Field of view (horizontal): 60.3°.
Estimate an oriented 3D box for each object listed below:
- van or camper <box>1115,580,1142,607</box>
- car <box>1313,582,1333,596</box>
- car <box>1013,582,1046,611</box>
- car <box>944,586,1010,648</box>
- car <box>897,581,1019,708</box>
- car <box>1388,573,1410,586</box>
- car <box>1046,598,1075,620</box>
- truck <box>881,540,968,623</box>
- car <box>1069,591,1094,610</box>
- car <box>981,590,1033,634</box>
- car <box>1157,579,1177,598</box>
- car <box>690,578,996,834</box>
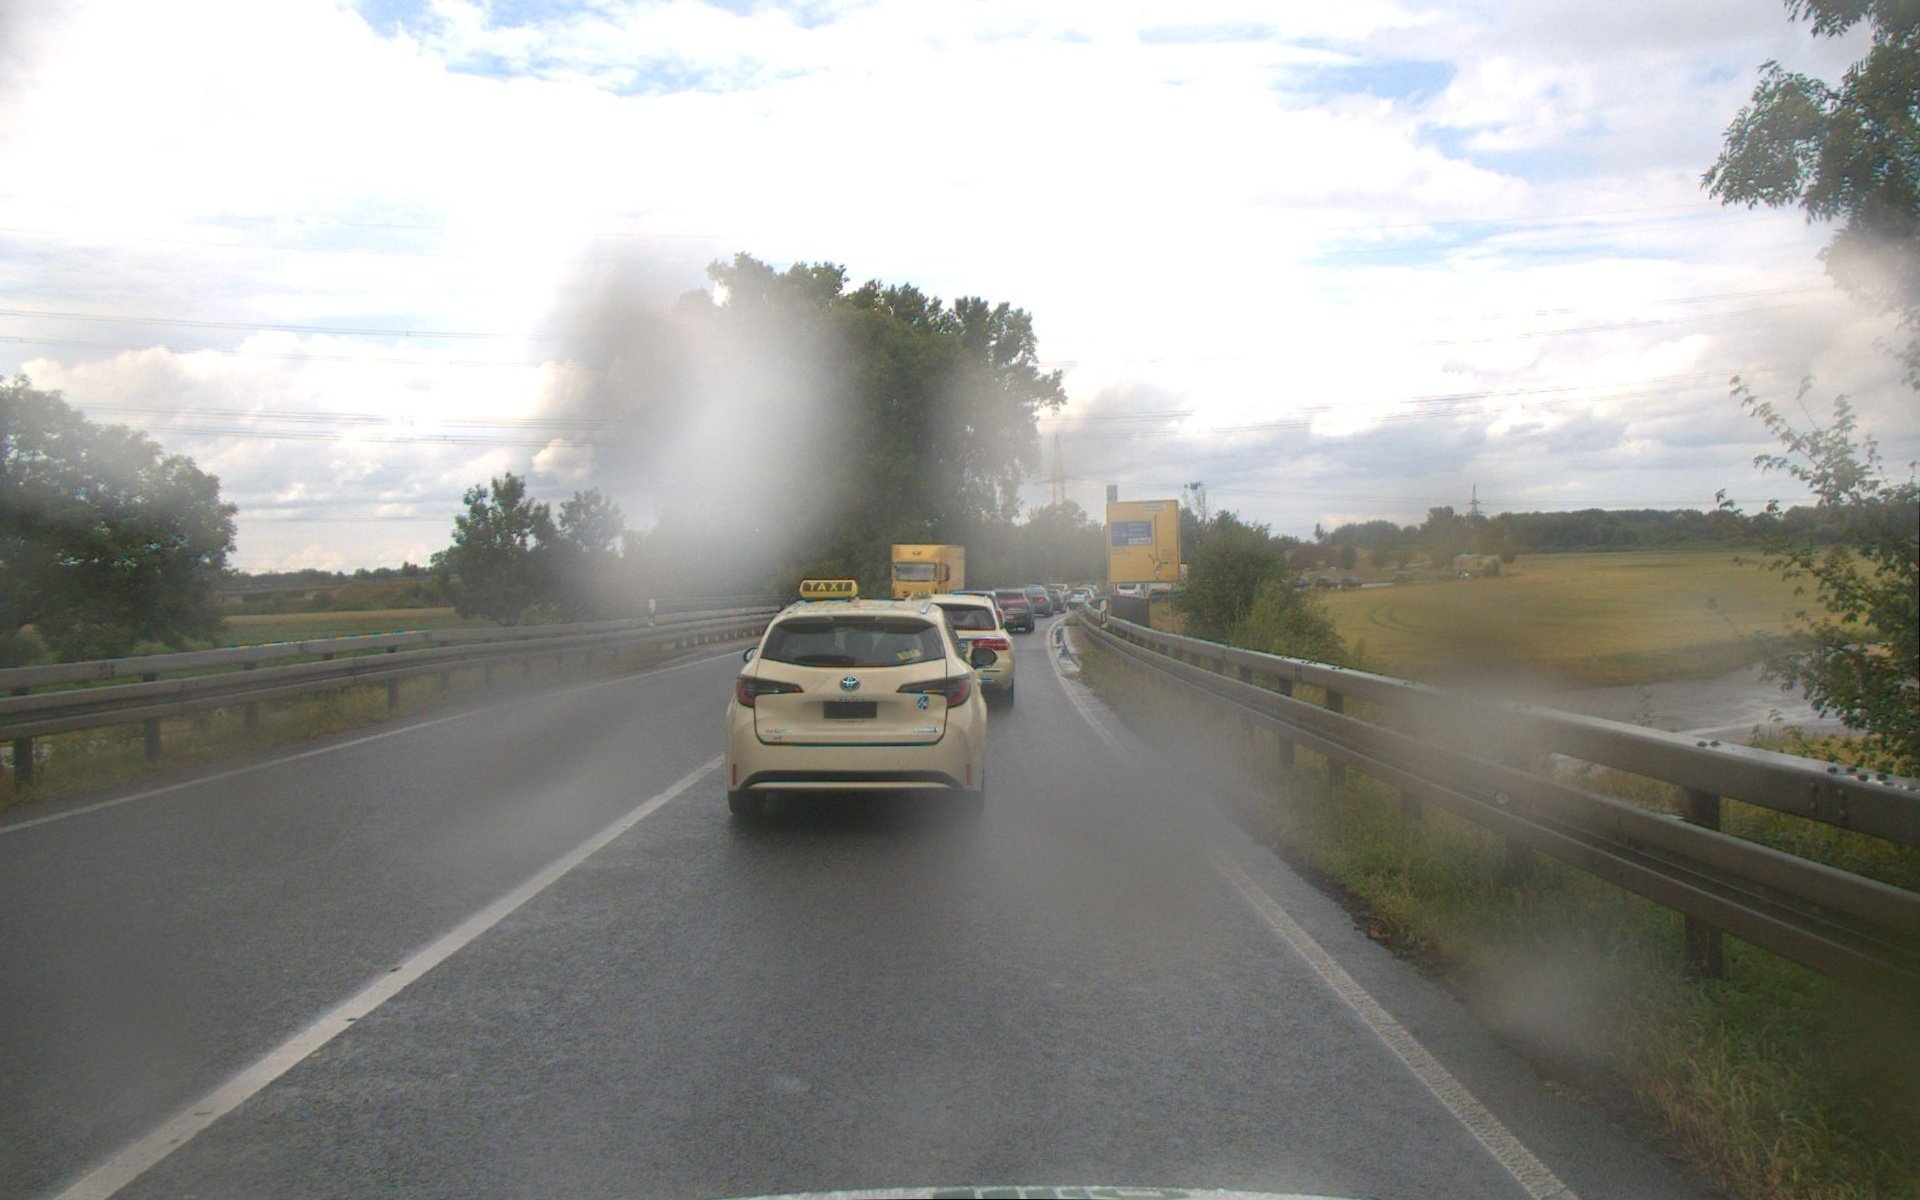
[{"bbox_3d":[14.491,-0.548,142.229,1.951,2.293,4.003,0,0,11],"label":"van or camper"},{"bbox_3d":[50.146,-1.570,228.227,1.783,1.870,3.984,0,0,27],"label":"car"},{"bbox_3d":[3.605,-0.170,85.642,1.625,1.434,3.906,0,-1,3],"label":"car"},{"bbox_3d":[0.456,0.395,40.981,1.474,1.462,3.357,1,0,3],"label":"car"},{"bbox_3d":[0.042,0.557,22.810,1.545,1.600,3.682,0,0,2],"label":"car"},{"bbox_3d":[67.392,-3.144,253.716,2.104,2.049,3.987,0,0,34],"label":"car"},{"bbox_3d":[6.082,0.529,99.622,1.451,1.332,3.480,0,0,9],"label":"car"},{"bbox_3d":[-1.500,-0.787,75.676,2.712,3.489,9.193,1,0,6],"label":"truck"},{"bbox_3d":[8.618,0.050,117.098,1.451,1.332,3.480,0,0,9],"label":"car"},{"bbox_3d":[1.658,0.400,57.435,1.630,1.489,3.479,0,0,5],"label":"car"},{"bbox_3d":[20.295,-1.103,161.923,1.695,1.851,4.003,0,0,10],"label":"car"},{"bbox_3d":[-0.678,0.647,12.266,1.866,1.564,4.162,0,0,1],"label":"car"}]
